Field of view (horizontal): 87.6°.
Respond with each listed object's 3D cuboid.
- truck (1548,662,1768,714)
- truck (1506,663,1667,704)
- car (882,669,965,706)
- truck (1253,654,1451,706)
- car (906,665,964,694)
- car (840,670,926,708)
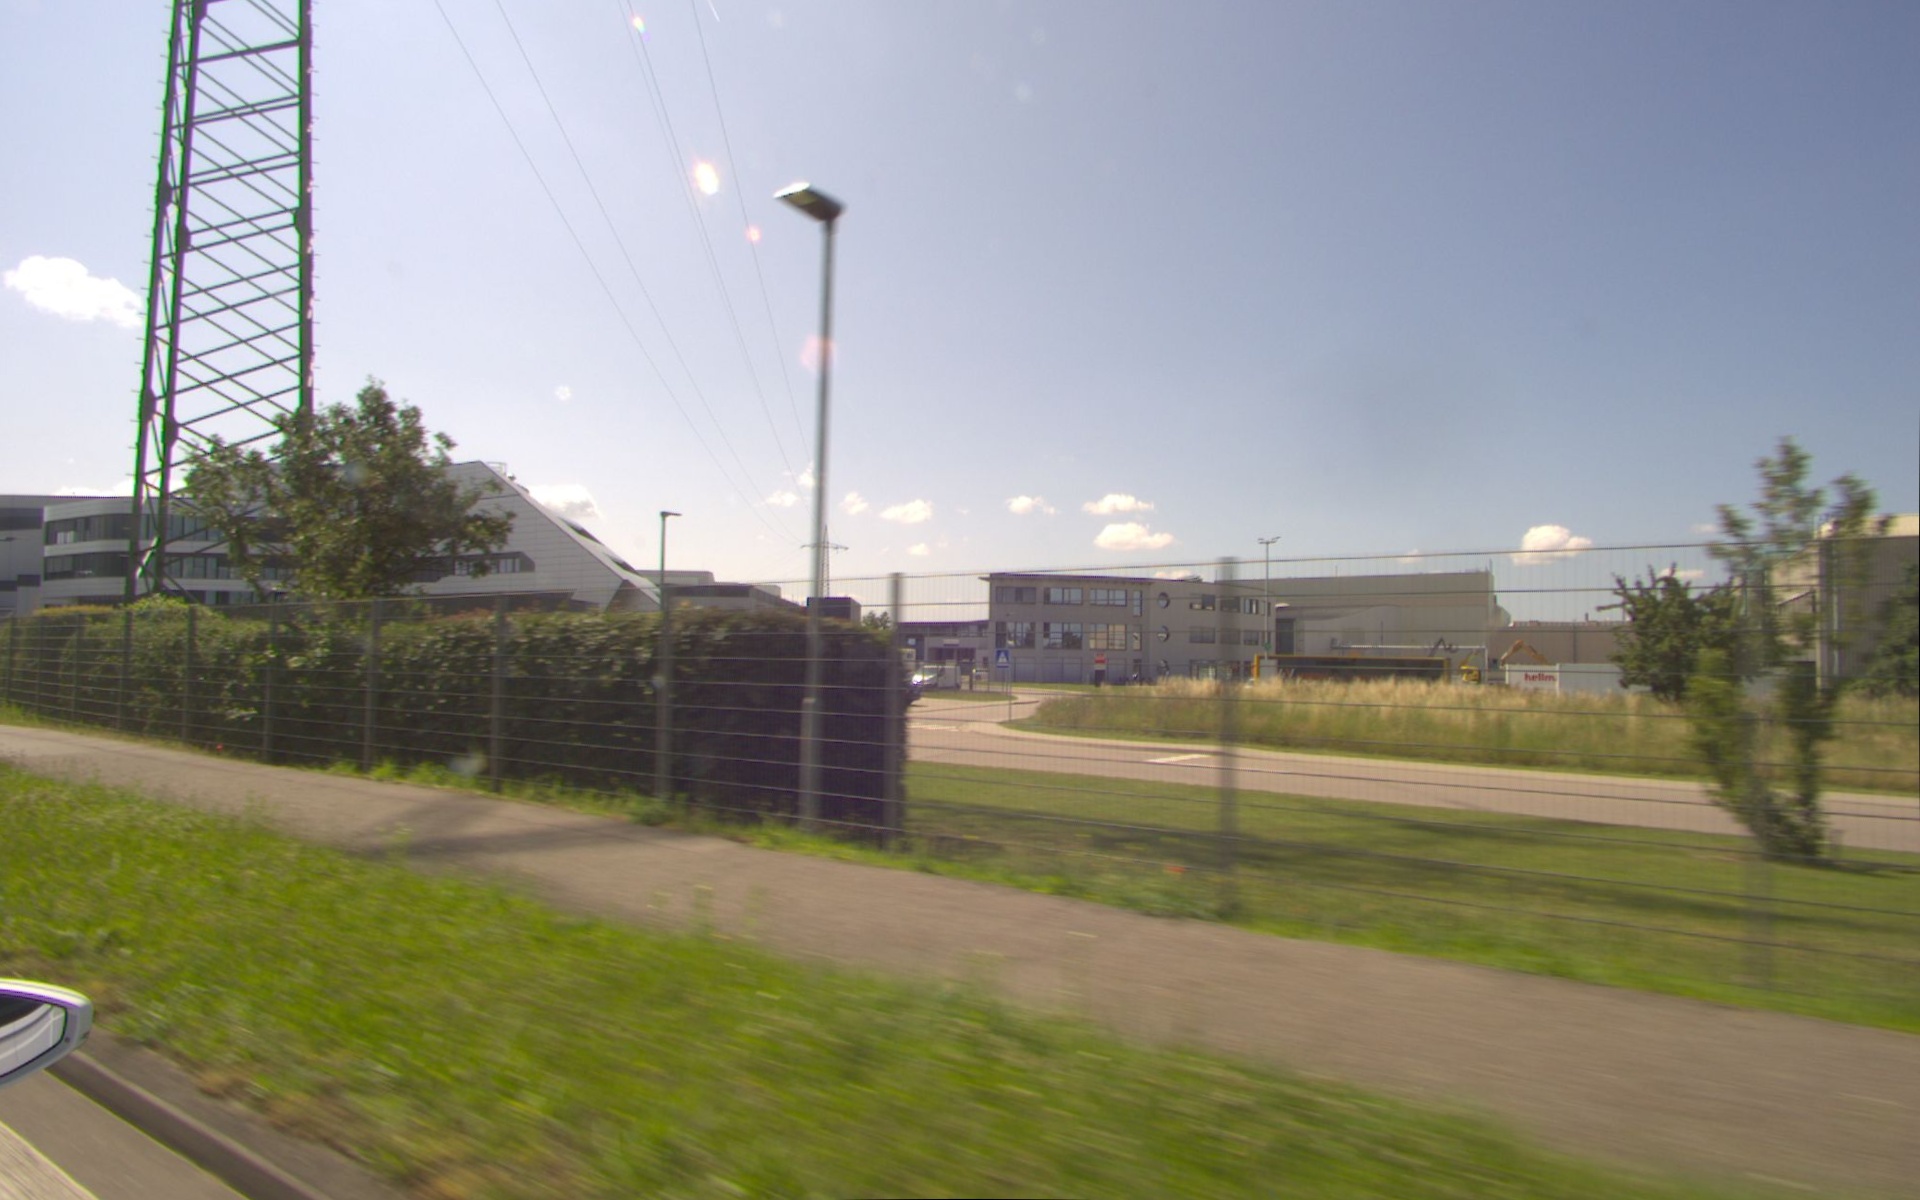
[{"bbox_3d":[45.524,5.683,65.908,11.685,2.997,1.991,-1,-4,33],"label":"truck"},{"bbox_3d":[53.951,7.190,86.672,11.685,3.175,1.991,-1,-4,33],"label":"truck"},{"bbox_3d":[-2.199,5.245,60.314,4.686,2.038,1.992,-1,-4,33],"label":"car"},{"bbox_3d":[28.549,5.807,73.582,13.438,3.402,1.991,-1,-4,33],"label":"truck"},{"bbox_3d":[-1.784,5.805,73.117,1.971,2.037,4.735,-1,-5,31],"label":"car"},{"bbox_3d":[-4.482,5.148,58.085,4.686,2.038,1.992,-1,-4,33],"label":"car"}]
